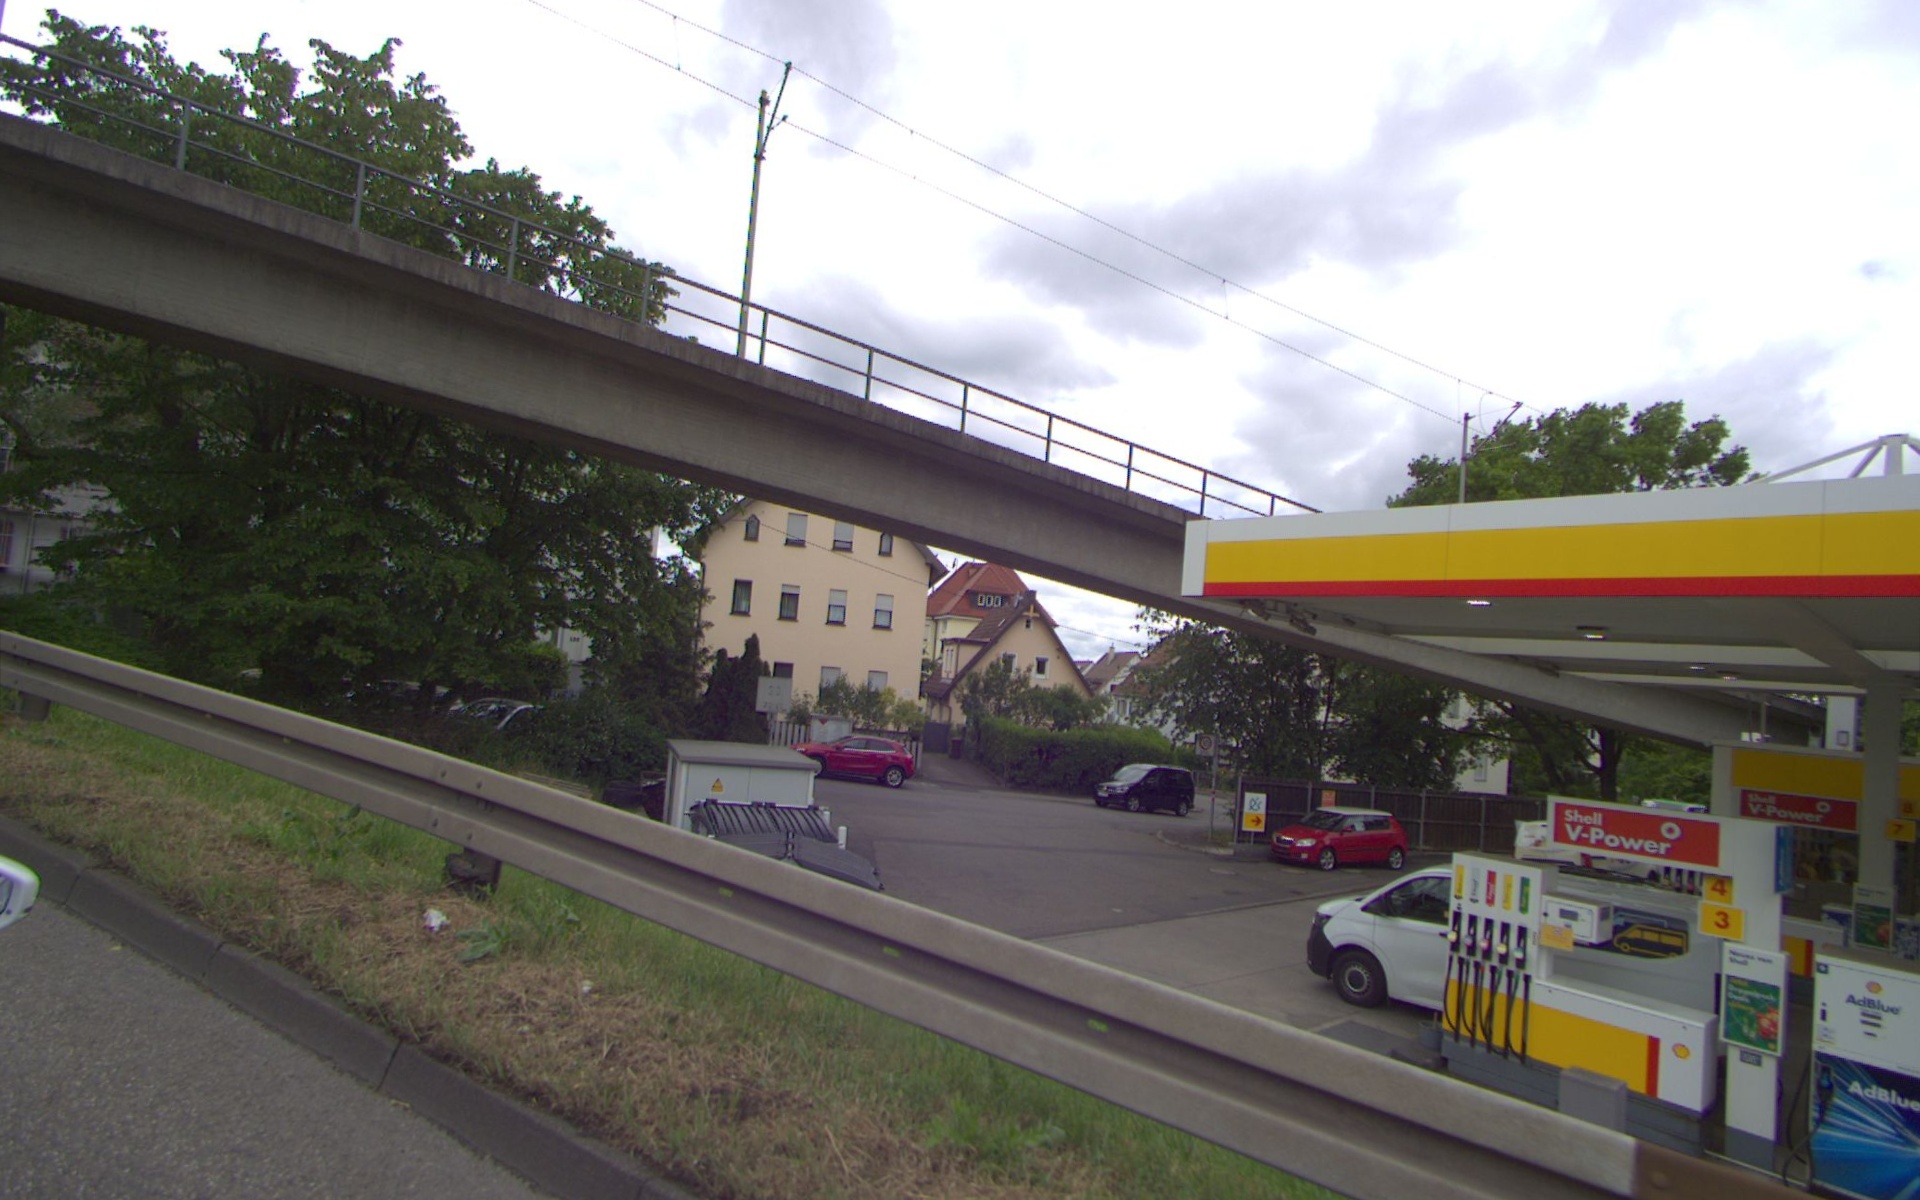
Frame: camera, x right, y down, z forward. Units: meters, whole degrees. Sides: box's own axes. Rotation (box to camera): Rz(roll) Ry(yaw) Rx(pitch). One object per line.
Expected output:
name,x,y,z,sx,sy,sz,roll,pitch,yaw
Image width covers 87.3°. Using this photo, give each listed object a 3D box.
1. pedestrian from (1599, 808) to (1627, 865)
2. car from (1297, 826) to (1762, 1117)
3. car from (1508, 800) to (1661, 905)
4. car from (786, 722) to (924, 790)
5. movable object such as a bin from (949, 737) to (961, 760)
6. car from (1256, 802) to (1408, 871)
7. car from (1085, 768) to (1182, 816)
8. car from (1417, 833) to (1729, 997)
pedestrian,19.635,7.102,30.253,0.421,1.614,0.505,5,-2,-30
car,6.812,4.270,12.492,1.729,2.032,4.663,7,-4,-41
car,14.825,5.883,23.813,3.843,1.960,1.726,7,-4,-36
car,-3.531,5.196,33.580,4.238,1.536,1.623,10,-5,-13
movable object such as a bin,-0.218,6.653,45.154,0.474,0.949,0.465,3,-3,-6
car,9.852,6.250,26.634,3.579,1.474,1.651,6,-4,-23
car,6.624,7.313,38.261,3.563,1.361,1.588,13,-8,-37
car,9.594,4.837,15.981,1.727,1.502,3.840,7,-4,-39
